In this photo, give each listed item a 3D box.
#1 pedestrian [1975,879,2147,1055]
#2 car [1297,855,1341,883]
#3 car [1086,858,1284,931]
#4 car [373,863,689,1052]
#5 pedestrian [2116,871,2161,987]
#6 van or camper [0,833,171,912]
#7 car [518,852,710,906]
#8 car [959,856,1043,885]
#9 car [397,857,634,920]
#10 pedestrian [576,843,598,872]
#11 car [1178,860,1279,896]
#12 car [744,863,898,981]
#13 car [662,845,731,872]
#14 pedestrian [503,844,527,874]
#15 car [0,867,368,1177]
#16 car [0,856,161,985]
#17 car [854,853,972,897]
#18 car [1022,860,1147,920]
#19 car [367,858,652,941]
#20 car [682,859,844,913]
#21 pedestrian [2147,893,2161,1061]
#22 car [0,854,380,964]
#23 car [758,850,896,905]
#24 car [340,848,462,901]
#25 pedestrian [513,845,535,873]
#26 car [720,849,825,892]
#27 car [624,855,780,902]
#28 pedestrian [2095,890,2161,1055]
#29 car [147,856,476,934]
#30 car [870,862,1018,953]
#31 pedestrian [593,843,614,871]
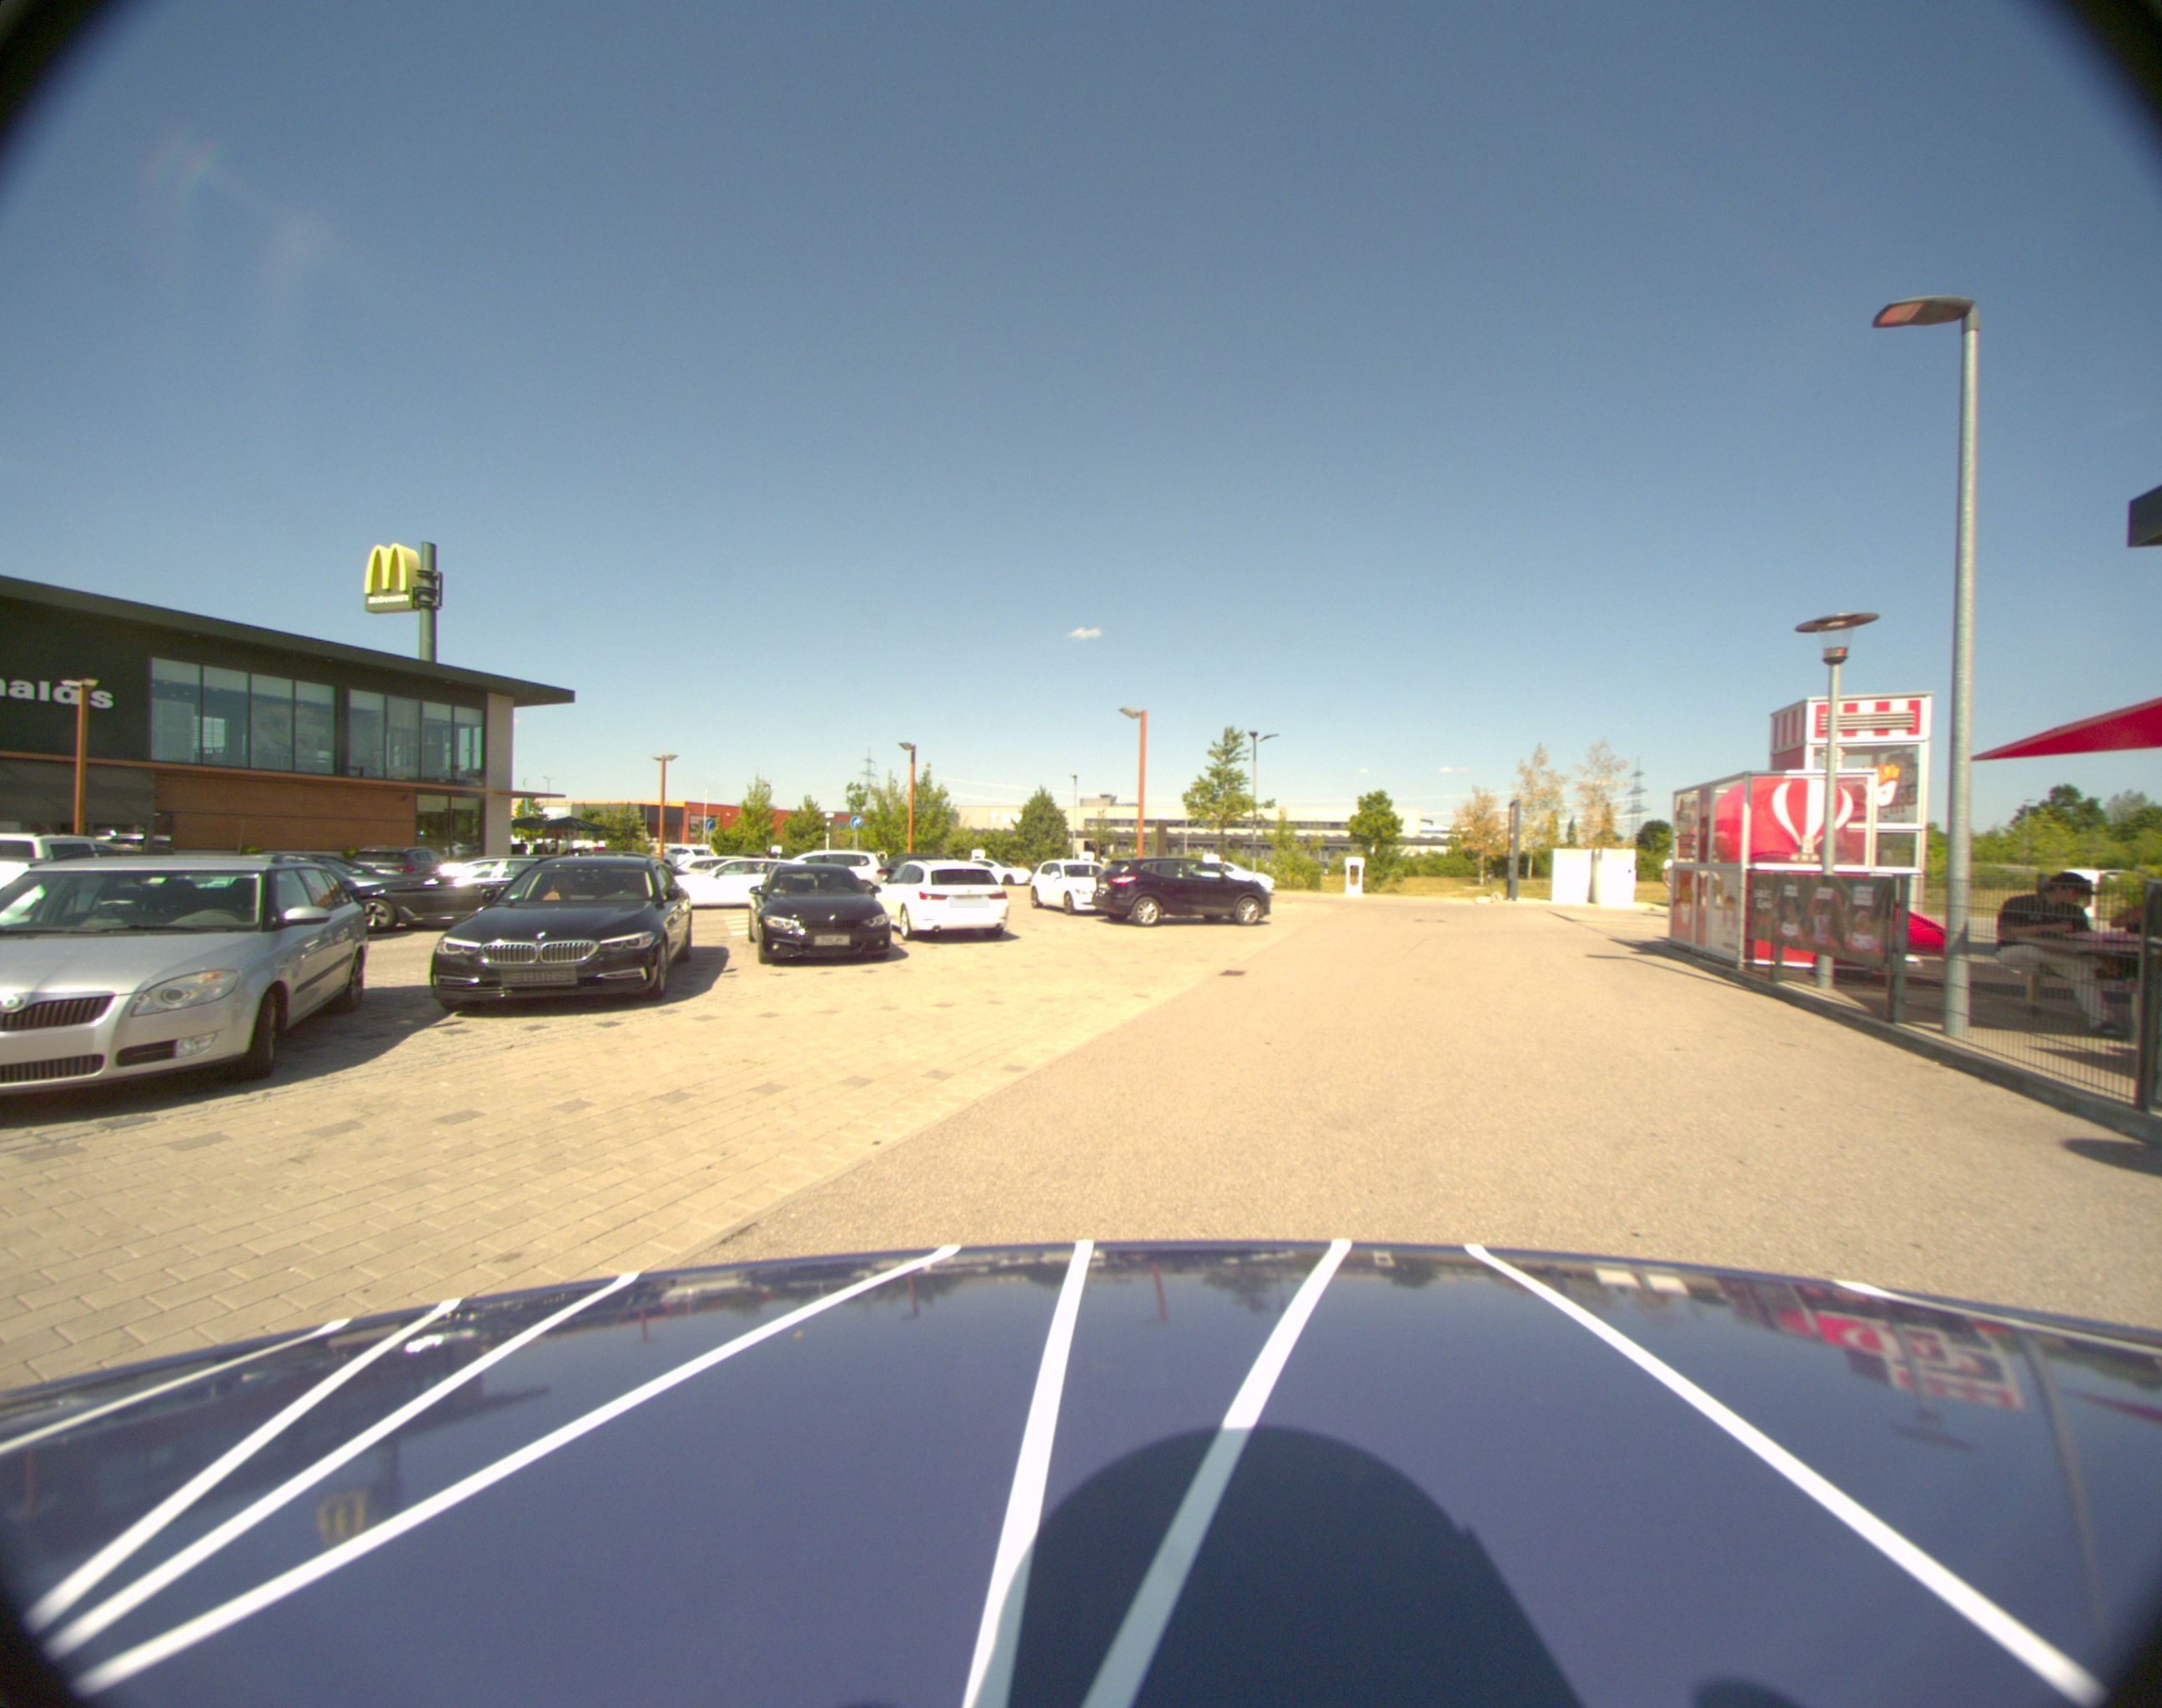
[{"bbox_3d":[8.454,0.924,6.601,0.663,1.379,0.809,1,1,33],"label":"pedestrian"},{"bbox_3d":[15.742,0.964,50.131,1.914,1.739,4.265,1,0,29],"label":"car"},{"bbox_3d":[2.476,0.937,18.209,4.308,1.581,1.854,1,0,-19],"label":"car"},{"bbox_3d":[-5.824,0.878,8.785,1.978,1.478,4.773,0,0,-24],"label":"car"},{"bbox_3d":[14.011,0.948,9.624,0.796,1.435,0.695,1,1,23],"label":"pedestrian"},{"bbox_3d":[-25.175,0.412,18.833,1.714,1.764,4.020,0,0,-23],"label":"van or camper"},{"bbox_3d":[-13.913,0.720,22.975,4.649,1.478,1.892,1,1,-20],"label":"car"},{"bbox_3d":[-4.460,0.890,42.542,4.321,1.470,1.846,1,0,25],"label":"car"},{"bbox_3d":[-14.580,0.846,19.950,4.649,1.478,1.892,1,1,-20],"label":"car"},{"bbox_3d":[-27.028,0.171,41.572,0.720,1.550,0.703,1,1,25],"label":"pedestrian"},{"bbox_3d":[7.173,1.143,36.967,4.565,1.583,1.845,1,0,21],"label":"car"},{"bbox_3d":[-4.297,0.898,12.106,1.839,1.451,4.361,0,0,-25],"label":"car"},{"bbox_3d":[-23.048,0.245,45.523,3.873,1.552,1.767,1,0,28],"label":"car"},{"bbox_3d":[-29.623,0.255,39.767,0.701,1.550,0.722,1,0,-4],"label":"pedestrian"},{"bbox_3d":[-6.942,0.892,5.507,1.979,1.517,4.196,0,0,-35],"label":"car"},{"bbox_3d":[-14.666,0.783,9.235,4.119,1.484,1.708,1,1,-20],"label":"car"},{"bbox_3d":[-6.248,0.750,28.255,4.005,1.543,1.751,1,0,-23],"label":"car"},{"bbox_3d":[-0.021,0.933,21.446,1.978,1.451,4.198,0,0,-24],"label":"car"},{"bbox_3d":[-11.335,0.852,15.466,4.284,1.478,1.810,1,1,-20],"label":"car"},{"bbox_3d":[-8.986,0.882,21.765,4.119,1.405,1.810,1,1,-20],"label":"car"},{"bbox_3d":[8.594,0.961,5.574,0.663,1.297,0.714,1,1,33],"label":"pedestrian"},{"bbox_3d":[-14.102,0.791,11.953,4.119,1.506,1.810,1,1,-20],"label":"car"},{"bbox_3d":[-8.267,0.729,24.867,4.119,1.665,1.810,1,1,-20],"label":"car"},{"bbox_3d":[-22.238,0.620,25.046,1.719,1.603,4.028,0,0,-22],"label":"car"},{"bbox_3d":[-30.599,0.271,41.717,0.701,1.550,0.722,1,0,-4],"label":"pedestrian"},{"bbox_3d":[-13.000,0.703,32.260,3.961,1.764,1.651,1,0,-15],"label":"car"},{"bbox_3d":[-12.950,0.819,26.299,4.649,1.478,1.892,1,1,-20],"label":"car"},{"bbox_3d":[9.071,0.966,6.247,0.663,1.297,0.688,1,1,33],"label":"pedestrian"},{"bbox_3d":[-16.357,0.827,16.522,4.649,1.478,1.892,1,1,-20],"label":"car"},{"bbox_3d":[-2.890,0.913,15.070,1.839,1.451,4.575,0,0,-24],"label":"car"},{"bbox_3d":[-26.871,0.172,42.771,0.720,1.550,0.703,1,1,25],"label":"pedestrian"}]
